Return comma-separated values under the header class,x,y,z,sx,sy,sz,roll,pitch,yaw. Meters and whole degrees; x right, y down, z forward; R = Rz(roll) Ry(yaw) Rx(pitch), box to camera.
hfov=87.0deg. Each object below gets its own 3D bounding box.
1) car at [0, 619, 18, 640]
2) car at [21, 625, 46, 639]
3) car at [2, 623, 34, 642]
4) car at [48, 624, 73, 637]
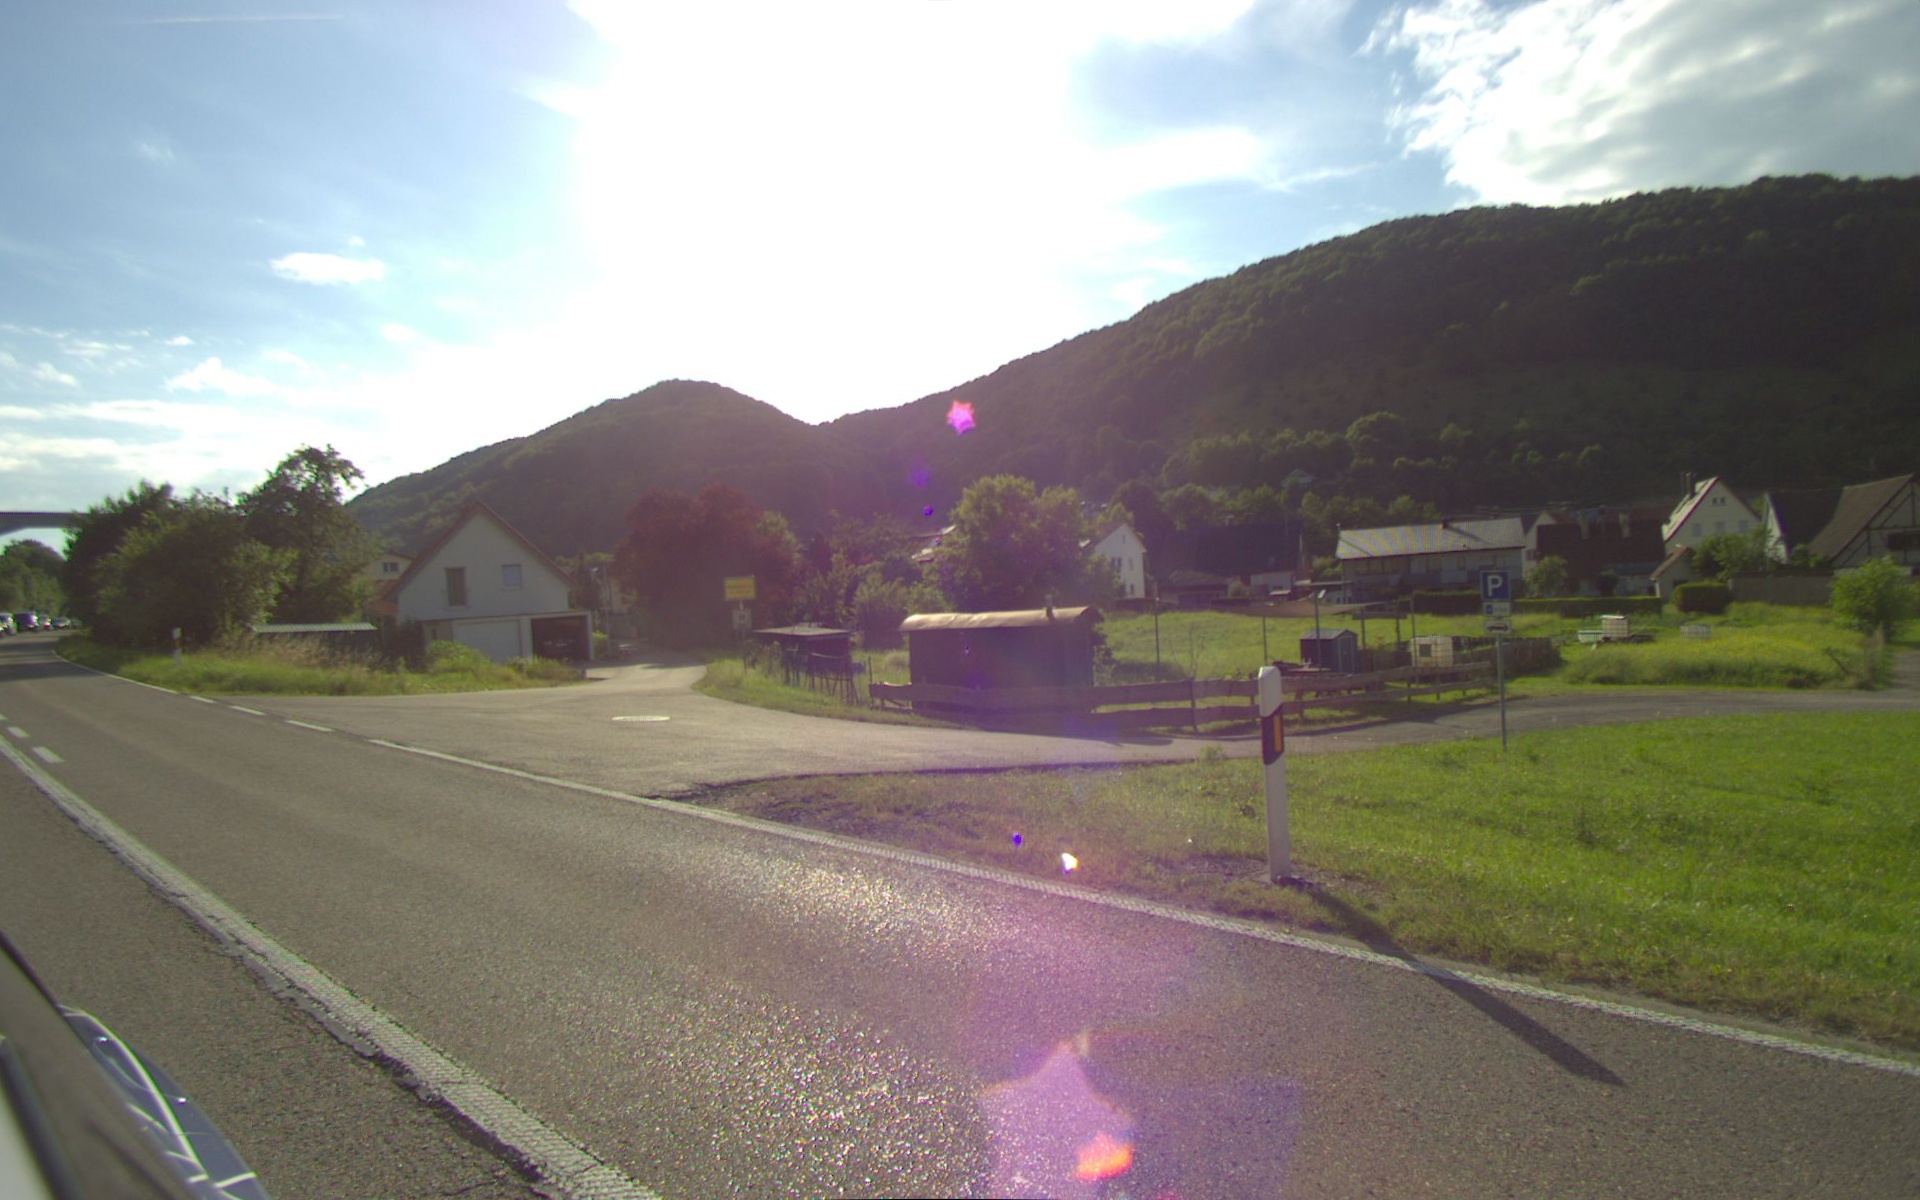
class,x,y,z,sx,sy,sz,roll,pitch,yaw
car,-74.569,2.263,78.506,1.791,1.630,4.008,1,-1,-38
car,-103.508,3.561,113.047,1.814,1.564,4.185,0,-1,-39
car,-83.425,2.891,89.681,1.791,1.630,4.007,0,-1,-39
car,-113.997,3.870,128.284,1.812,1.564,4.188,0,-1,-35
